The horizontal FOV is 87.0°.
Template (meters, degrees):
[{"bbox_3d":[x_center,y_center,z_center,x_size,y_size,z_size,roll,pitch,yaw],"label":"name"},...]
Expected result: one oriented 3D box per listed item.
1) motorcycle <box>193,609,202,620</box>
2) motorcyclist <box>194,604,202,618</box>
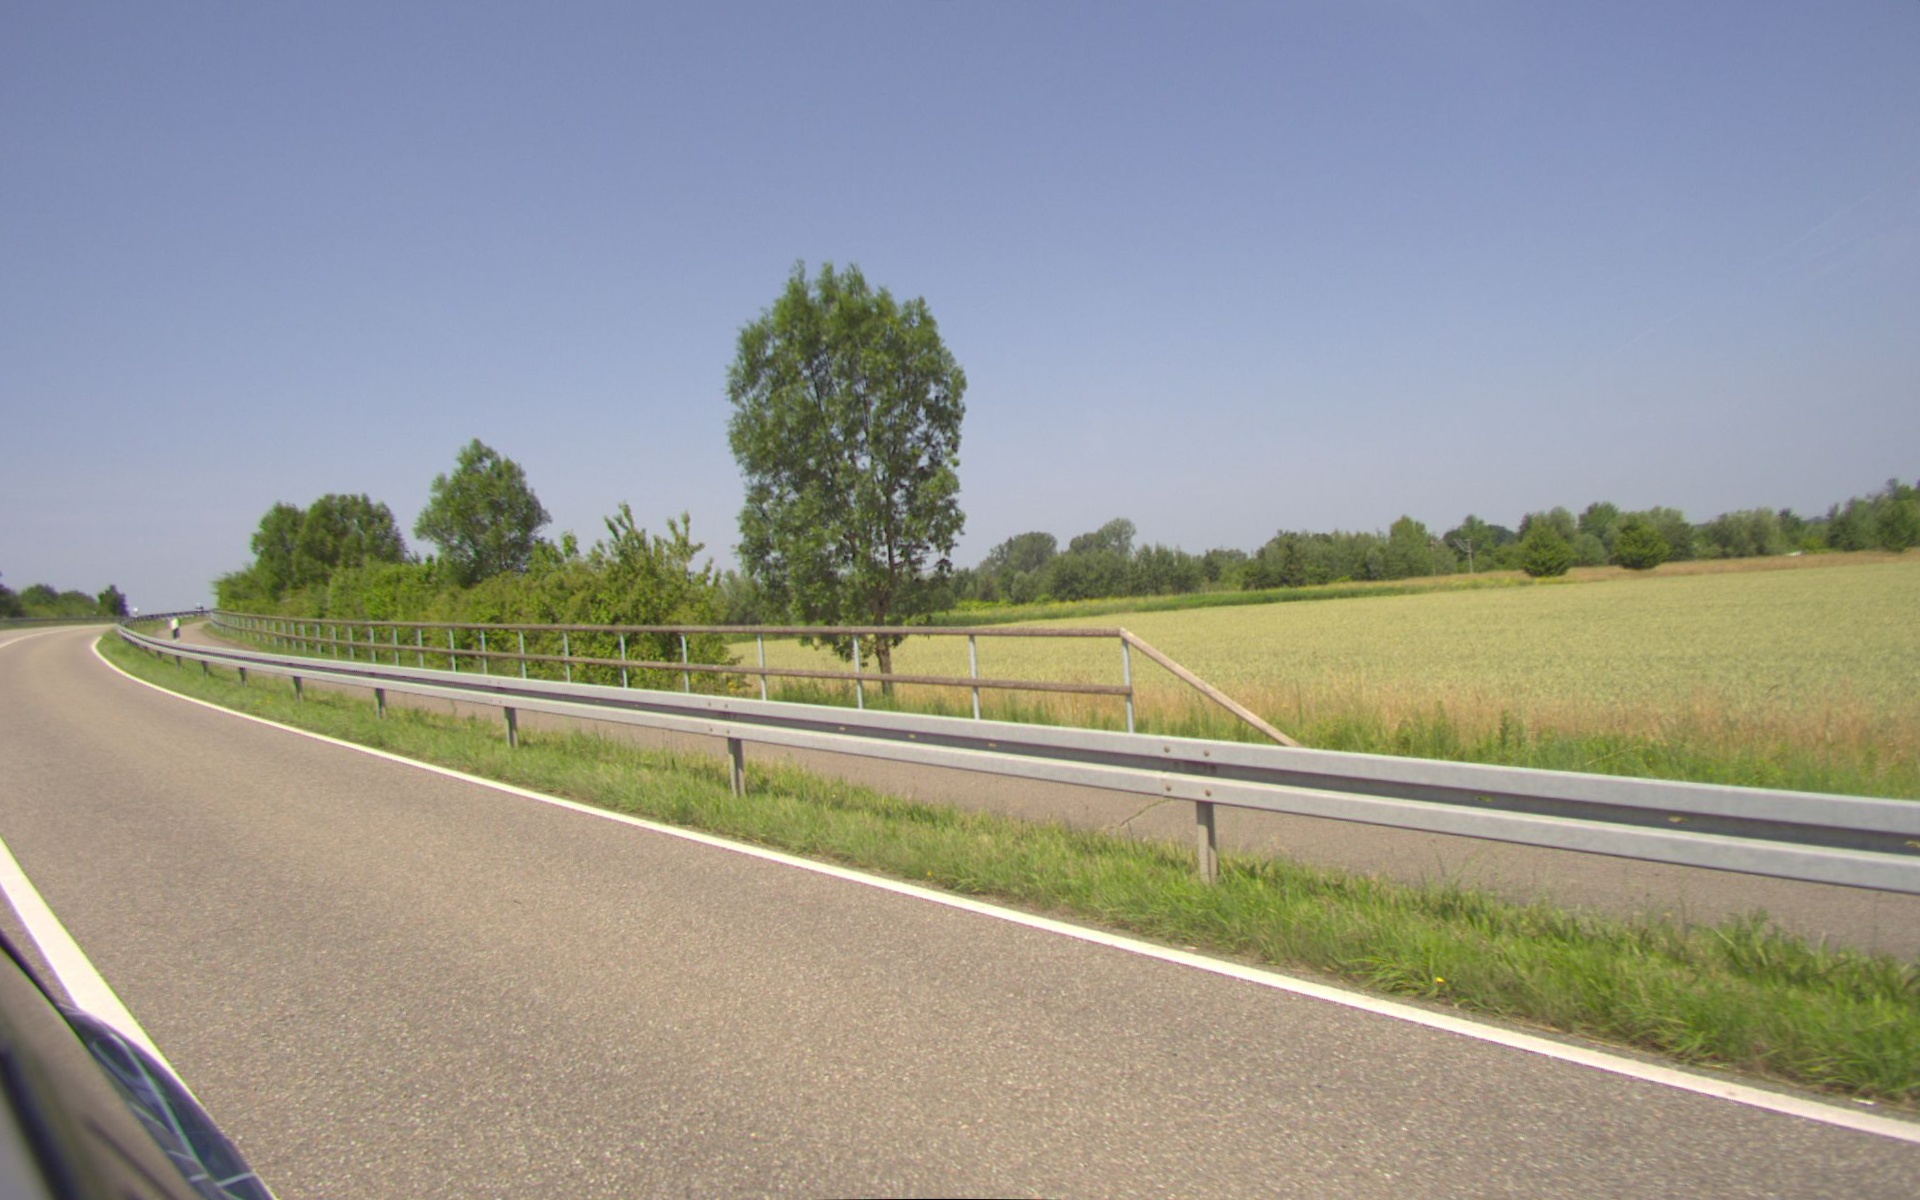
[{"bbox_3d":[-86.730,1.593,115.172,0.634,1.233,1.643,0,0,-31],"label":"motorcycle"},{"bbox_3d":[-86.697,1.234,115.089,0.645,1.574,0.778,0,0,-31],"label":"motorcyclist"}]
